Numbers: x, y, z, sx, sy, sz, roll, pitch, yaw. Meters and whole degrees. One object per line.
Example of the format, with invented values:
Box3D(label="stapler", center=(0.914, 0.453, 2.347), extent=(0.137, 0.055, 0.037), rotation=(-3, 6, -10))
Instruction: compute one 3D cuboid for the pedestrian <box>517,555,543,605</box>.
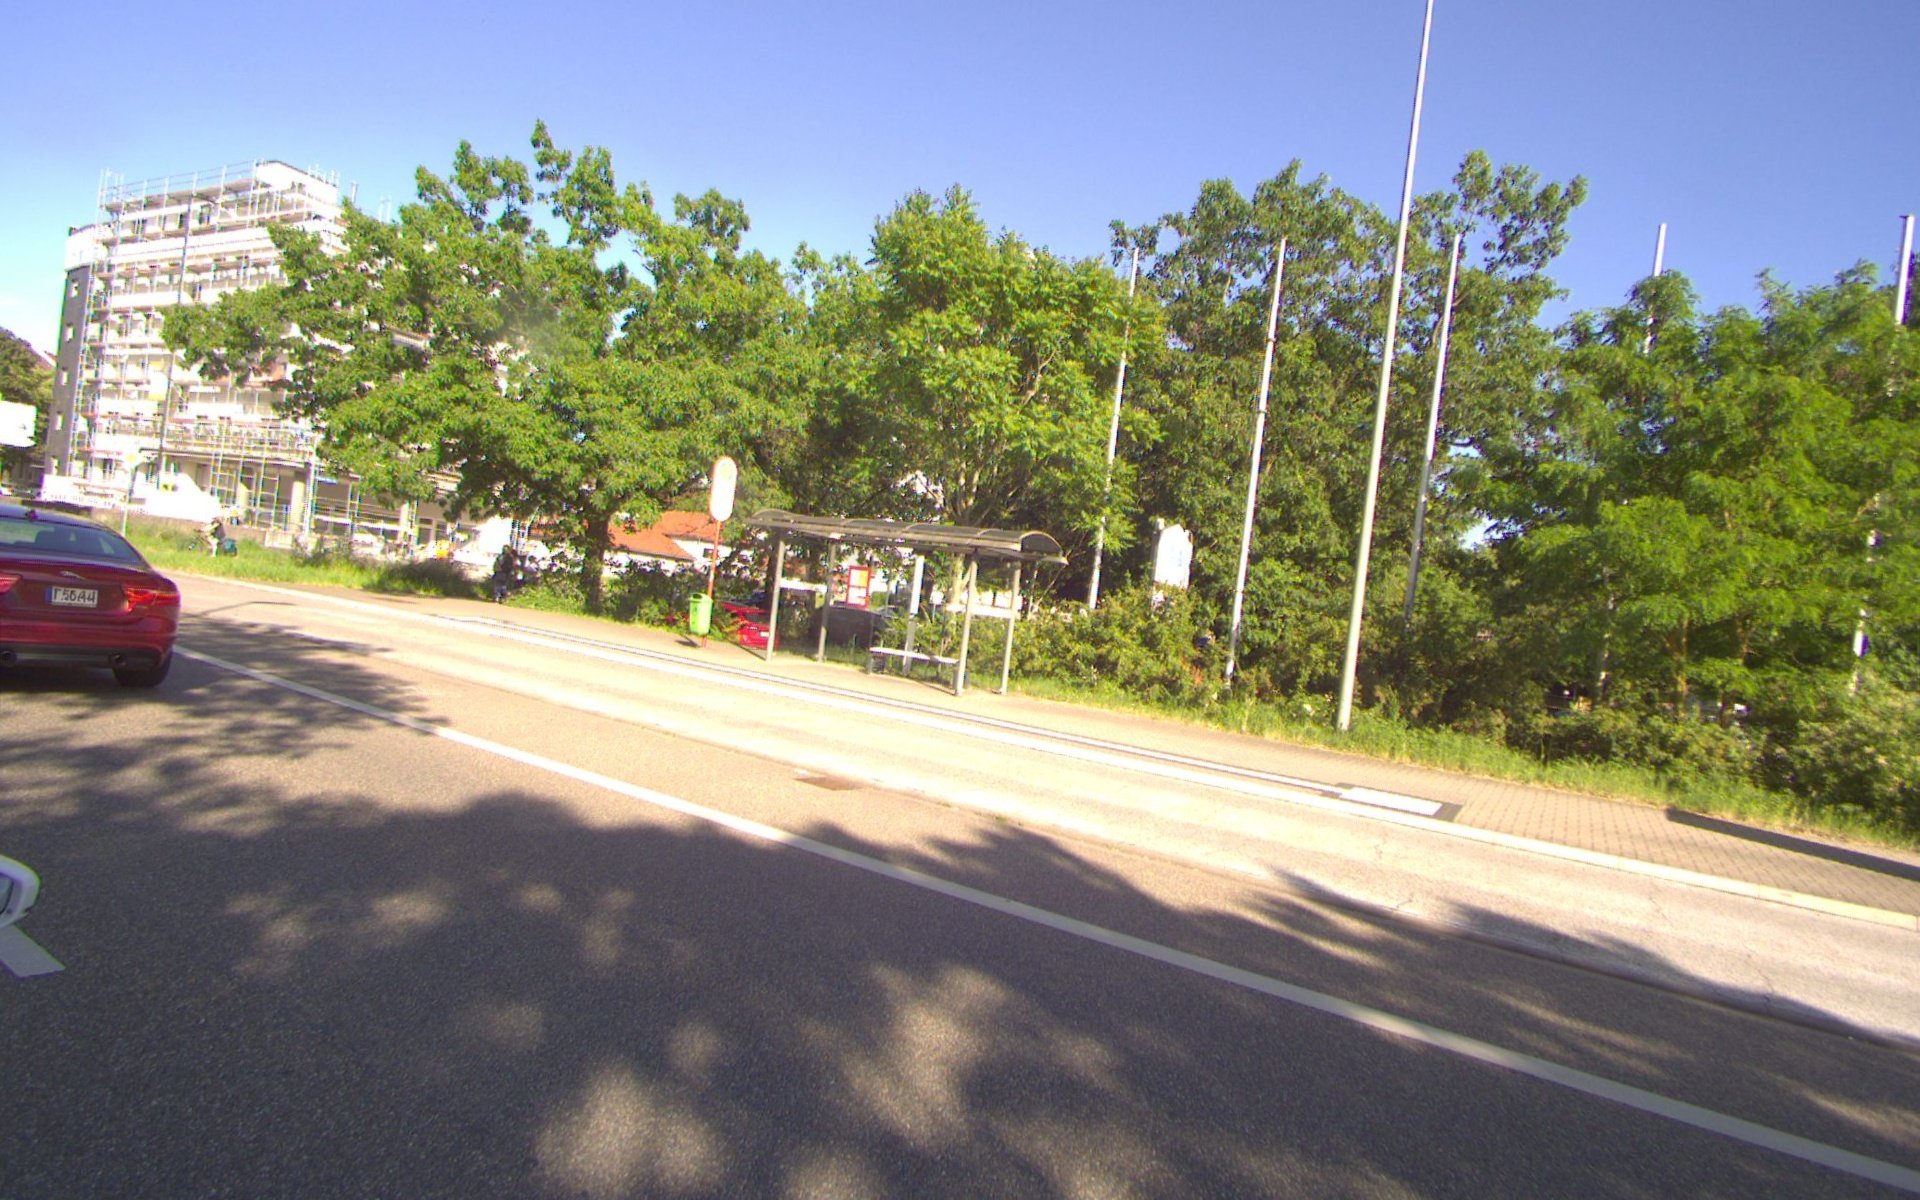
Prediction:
Box3D(label="pedestrian", center=(-13.401, -0.633, 31.359), extent=(0.517, 1.465, 0.587), rotation=(7, 1, -32))

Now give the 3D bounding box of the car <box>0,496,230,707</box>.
Box3D(label="car", center=(-8.436, -0.159, 8.662), extent=(4.313, 1.445, 1.890), rotation=(8, 0, 32))

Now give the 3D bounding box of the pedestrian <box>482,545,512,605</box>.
Box3D(label="pedestrian", center=(-13.078, -0.710, 28.415), extent=(0.517, 1.632, 0.587), rotation=(7, 1, -32))

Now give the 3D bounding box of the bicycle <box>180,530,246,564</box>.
Box3D(label="bicycle", center=(-26.804, -1.897, 36.129), extent=(1.784, 0.956, 0.553), rotation=(8, 0, -44))

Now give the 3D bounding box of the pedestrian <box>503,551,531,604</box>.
Box3D(label="pedestrian", center=(-12.883, -0.648, 29.249), extent=(0.517, 1.465, 0.587), rotation=(7, 1, -32))

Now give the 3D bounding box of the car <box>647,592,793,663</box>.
Box3D(label="car", center=(-6.870, 0.793, 28.744), extent=(3.680, 1.504, 1.755), rotation=(7, 0, 28))

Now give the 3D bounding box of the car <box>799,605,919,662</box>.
Box3D(label="car", center=(-3.583, 1.181, 35.978), extent=(3.674, 1.504, 1.914), rotation=(7, 0, 13))

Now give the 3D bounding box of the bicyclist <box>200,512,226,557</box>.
Box3D(label="bicyclist", center=(-26.789, -2.343, 36.086), extent=(0.582, 1.511, 0.543), rotation=(7, 1, -43))

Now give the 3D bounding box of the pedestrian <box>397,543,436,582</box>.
Box3D(label="pedestrian", center=(-22.752, -1.560, 42.150), extent=(0.948, 1.465, 0.895), rotation=(7, 0, 17))

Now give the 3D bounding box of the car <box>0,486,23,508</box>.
Box3D(label="car", center=(-66.607, -7.216, 70.158), extent=(1.521, 1.330, 3.250), rotation=(7, 0, -40))
